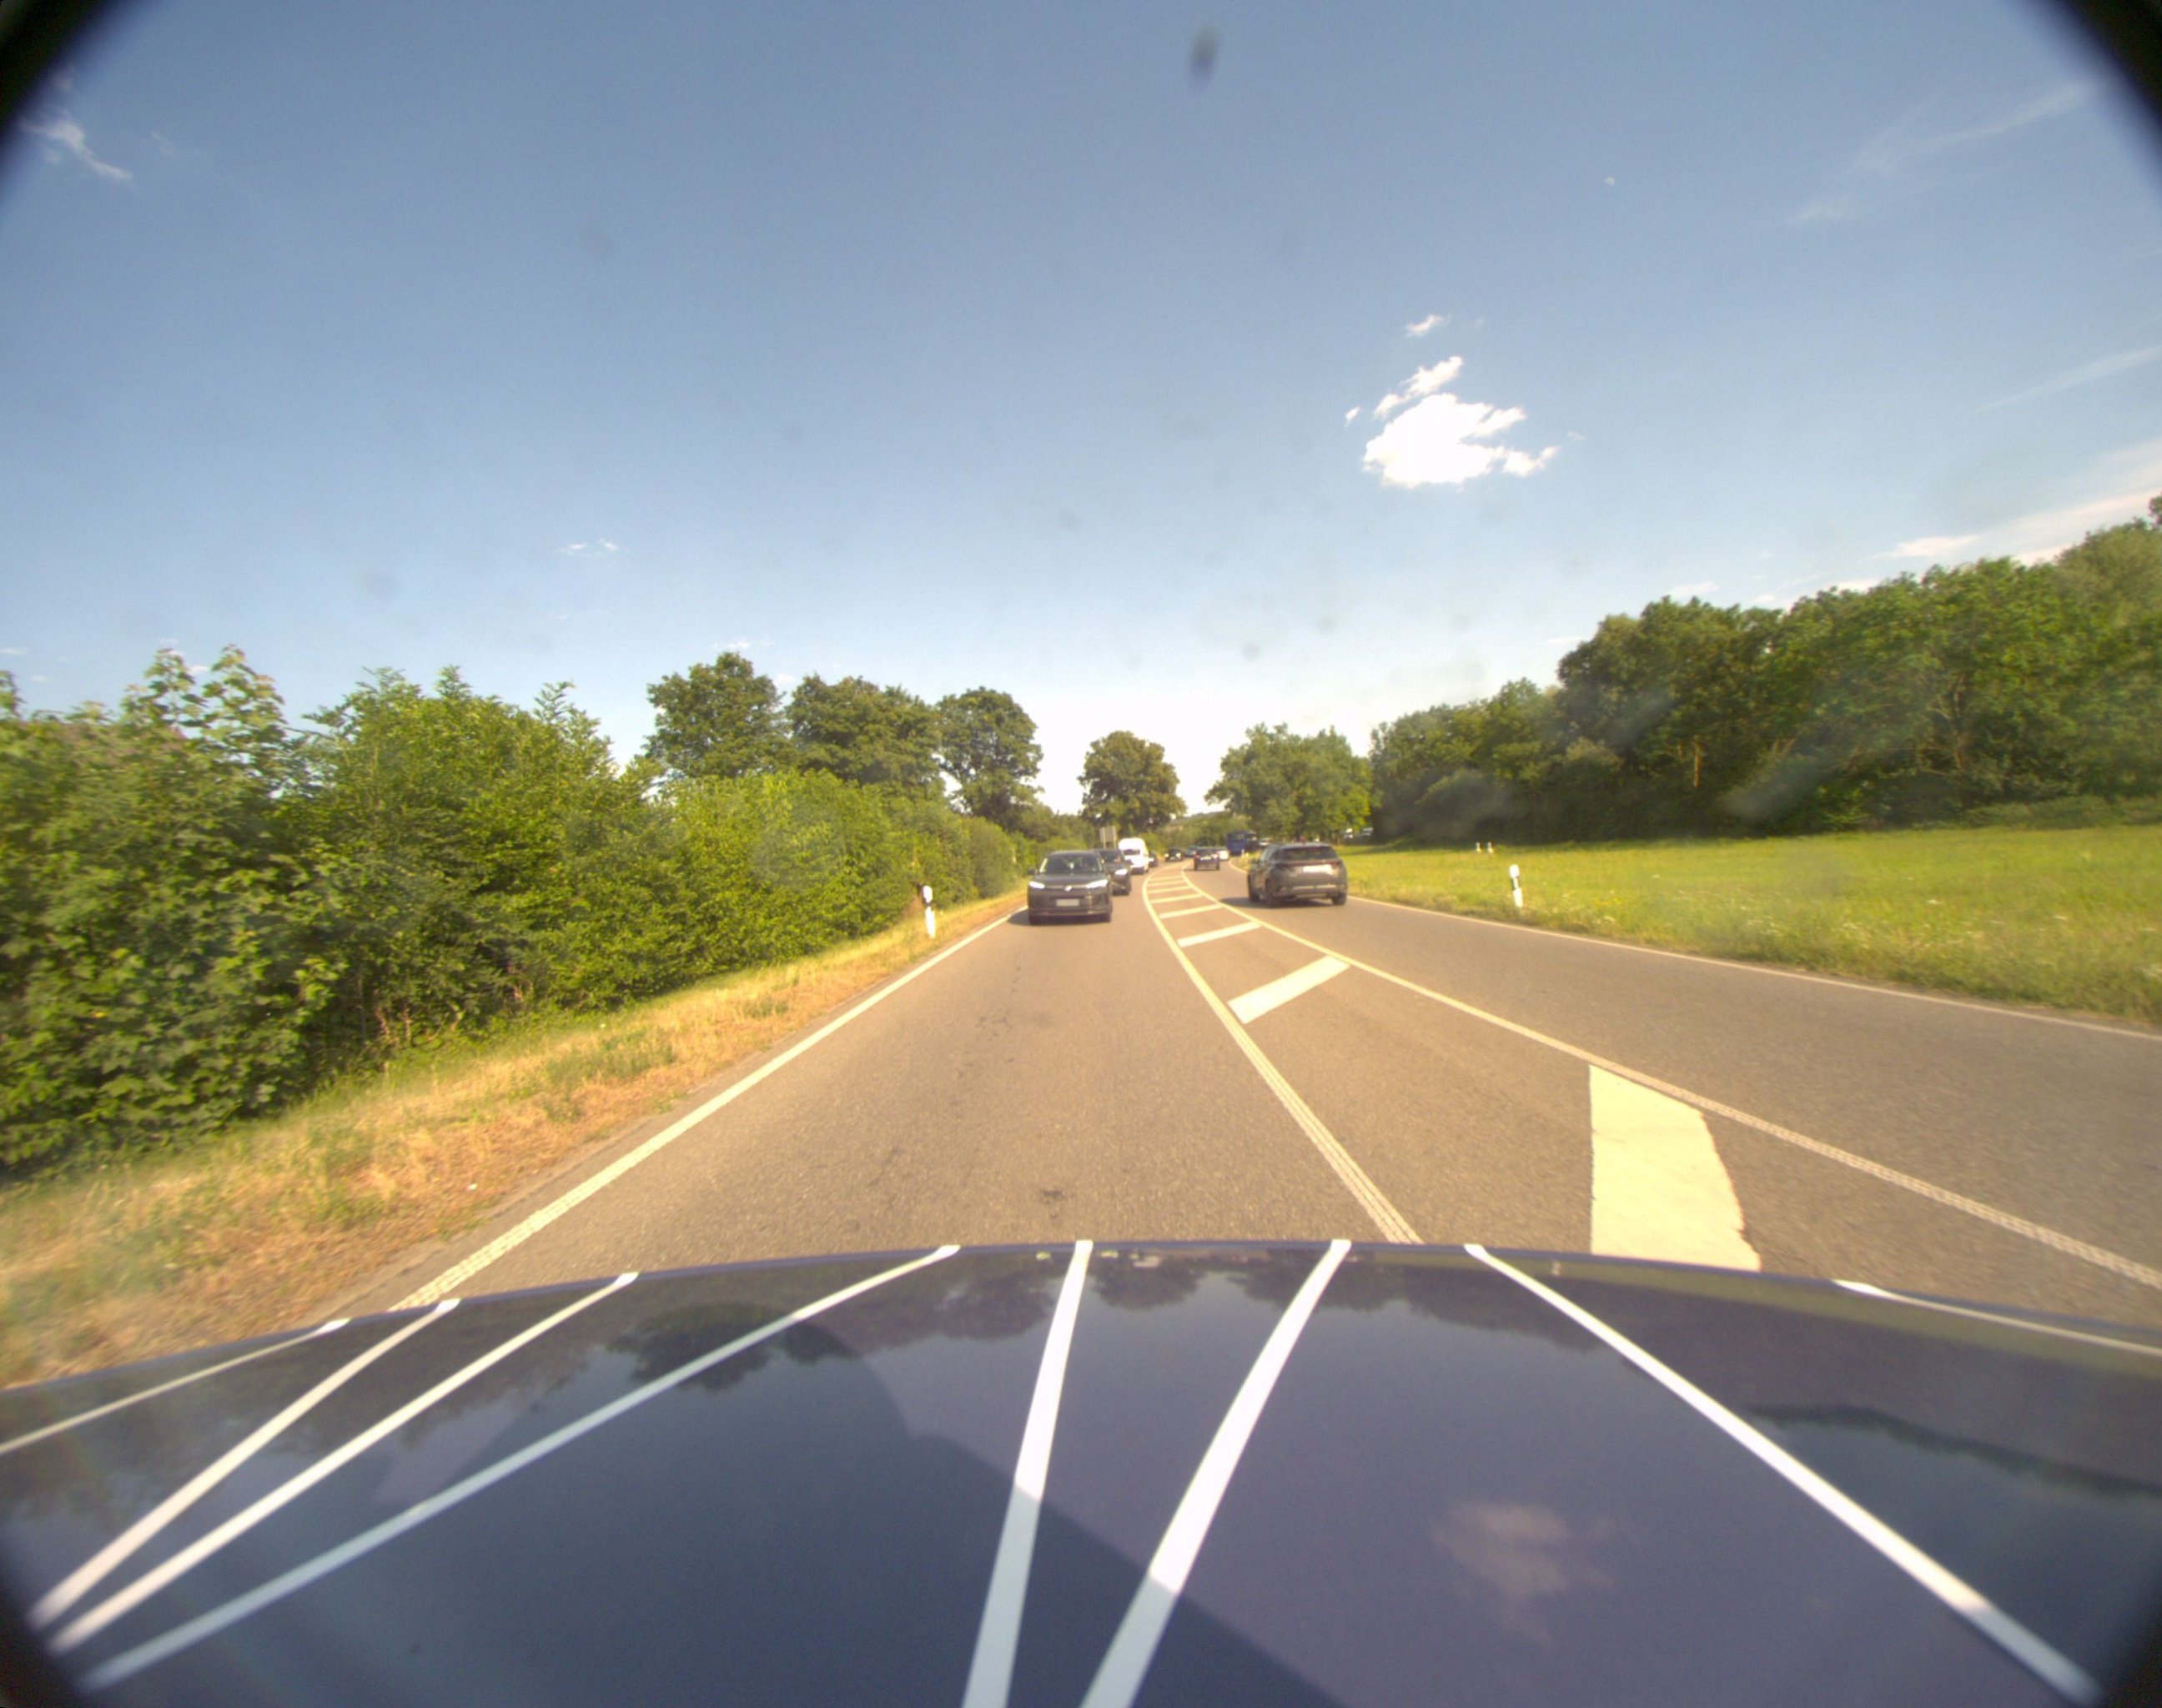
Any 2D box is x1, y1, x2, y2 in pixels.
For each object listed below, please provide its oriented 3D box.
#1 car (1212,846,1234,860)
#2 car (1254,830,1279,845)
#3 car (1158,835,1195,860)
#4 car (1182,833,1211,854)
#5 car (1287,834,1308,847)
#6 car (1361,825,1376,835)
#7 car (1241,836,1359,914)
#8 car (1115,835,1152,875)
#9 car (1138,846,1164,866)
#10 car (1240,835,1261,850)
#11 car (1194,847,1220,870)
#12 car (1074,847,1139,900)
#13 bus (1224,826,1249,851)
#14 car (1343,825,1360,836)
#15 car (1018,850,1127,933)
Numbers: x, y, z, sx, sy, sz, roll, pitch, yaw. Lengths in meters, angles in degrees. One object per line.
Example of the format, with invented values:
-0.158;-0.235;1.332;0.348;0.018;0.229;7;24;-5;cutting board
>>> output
14.551;-0.115;77.880;1.703;1.326;4.750;-3;1;5;car
32.772;-2.860;133.953;2.084;2.403;5.151;-2;2;40;car
10.388;-0.714;82.259;2.085;2.403;5.150;-3;2;28;car
15.127;-1.397;99.155;2.085;2.403;5.150;-3;2;28;car
44.547;-2.824;156.050;2.084;2.403;5.151;-2;2;40;car
75.578;-6.425;199.842;2.084;2.403;5.151;-2;2;40;car
5.631;0.513;20.125;1.998;1.714;4.427;-3;0;3;car
3.510;0.014;50.006;2.087;2.403;5.143;-3;1;6;car
6.013;0.158;64.787;1.697;1.544;4.155;-1;1;13;car
28.565;-1.958;128.024;2.085;2.403;5.150;-3;2;28;car
8.722;0.306;52.359;1.697;1.543;4.156;-1;0;10;car
1.068;0.663;28.567;1.921;1.719;4.703;-3;1;7;car
21.212;-2.173;104.356;2.799;3.163;12.131;-3;1;9;bus
67.021;-5.903;188.188;2.084;2.403;5.151;-2;2;40;car
-0.049;0.783;18.324;1.921;1.612;4.703;-3;1;7;car
